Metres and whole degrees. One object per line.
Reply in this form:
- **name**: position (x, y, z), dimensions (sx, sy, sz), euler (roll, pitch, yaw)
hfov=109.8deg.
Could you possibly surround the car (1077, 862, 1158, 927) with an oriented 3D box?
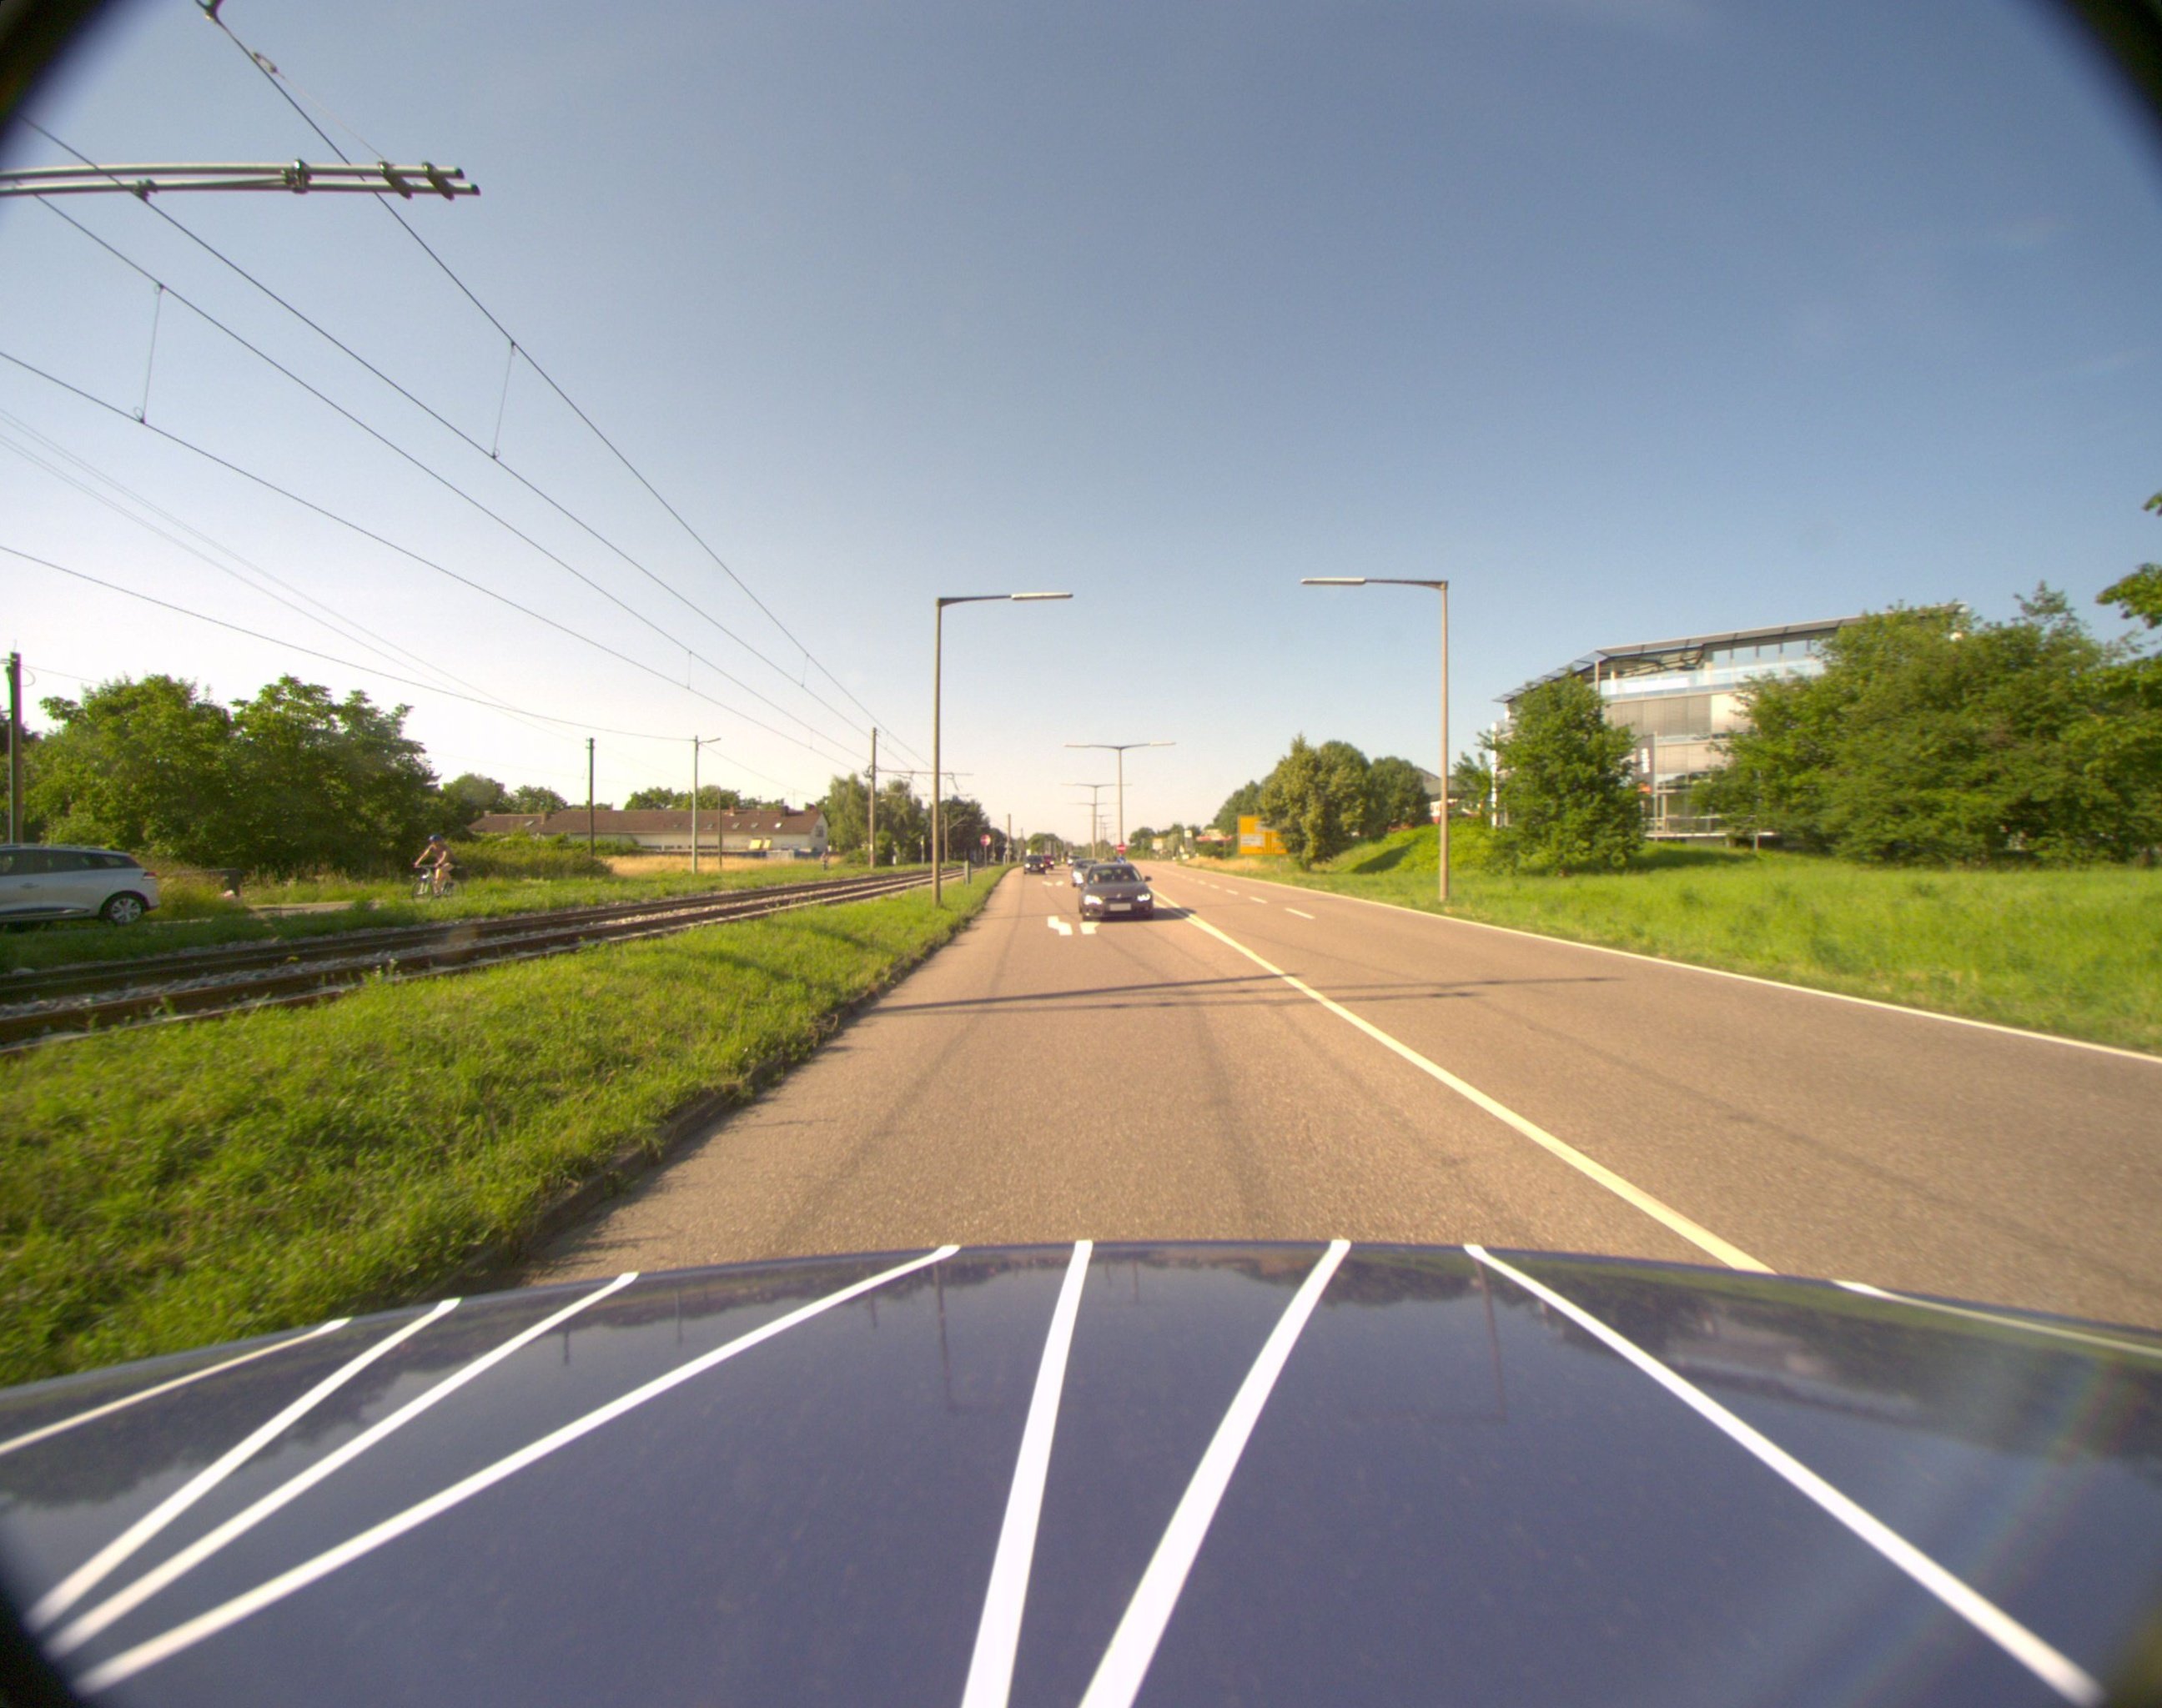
- **car**: position (0.860, 0.991, 20.116), dimensions (1.748, 1.444, 3.945), euler (-2, 0, -2)

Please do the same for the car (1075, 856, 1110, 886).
- **car**: position (0.632, 0.894, 40.238), dimensions (1.710, 1.444, 4.591), euler (-2, -1, 2)

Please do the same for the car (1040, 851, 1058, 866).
- **car**: position (-3.403, 0.442, 81.378), dimensions (1.607, 1.504, 4.268), euler (-2, 0, 0)

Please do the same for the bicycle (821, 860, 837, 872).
- **bicycle**: position (-20.632, 0.956, 62.197), dimensions (0.644, 0.904, 1.813), euler (-1, 0, -1)

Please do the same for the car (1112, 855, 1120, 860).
- **car**: position (9.749, 0.988, 212.901), dimensions (1.563, 1.369, 3.384), euler (-3, 1, -5)

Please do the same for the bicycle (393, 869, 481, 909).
- **bicycle**: position (-16.271, 0.869, 19.272), dimensions (0.644, 0.904, 1.844), euler (-1, 0, 0)

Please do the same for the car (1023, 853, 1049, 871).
- **car**: position (-3.739, 0.674, 63.820), dimensions (1.847, 1.347, 4.154), euler (-2, 0, 0)

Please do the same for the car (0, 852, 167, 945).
- **car**: position (-17.397, 0.681, 11.795), dimensions (1.538, 1.439, 4.130), euler (0, 0, -3)

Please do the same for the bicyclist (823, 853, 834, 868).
- **bicyclist**: position (-20.644, 0.521, 62.183), dimensions (0.641, 1.226, 0.791), euler (-1, 0, -1)

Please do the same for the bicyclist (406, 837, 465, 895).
- **bicyclist**: position (-16.280, 0.300, 19.189), dimensions (0.631, 1.414, 0.962), euler (-1, 0, 0)

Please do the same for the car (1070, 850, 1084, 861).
- **car**: position (-0.608, 0.199, 109.894), dimensions (1.968, 1.504, 4.808), euler (-1, 0, 0)
